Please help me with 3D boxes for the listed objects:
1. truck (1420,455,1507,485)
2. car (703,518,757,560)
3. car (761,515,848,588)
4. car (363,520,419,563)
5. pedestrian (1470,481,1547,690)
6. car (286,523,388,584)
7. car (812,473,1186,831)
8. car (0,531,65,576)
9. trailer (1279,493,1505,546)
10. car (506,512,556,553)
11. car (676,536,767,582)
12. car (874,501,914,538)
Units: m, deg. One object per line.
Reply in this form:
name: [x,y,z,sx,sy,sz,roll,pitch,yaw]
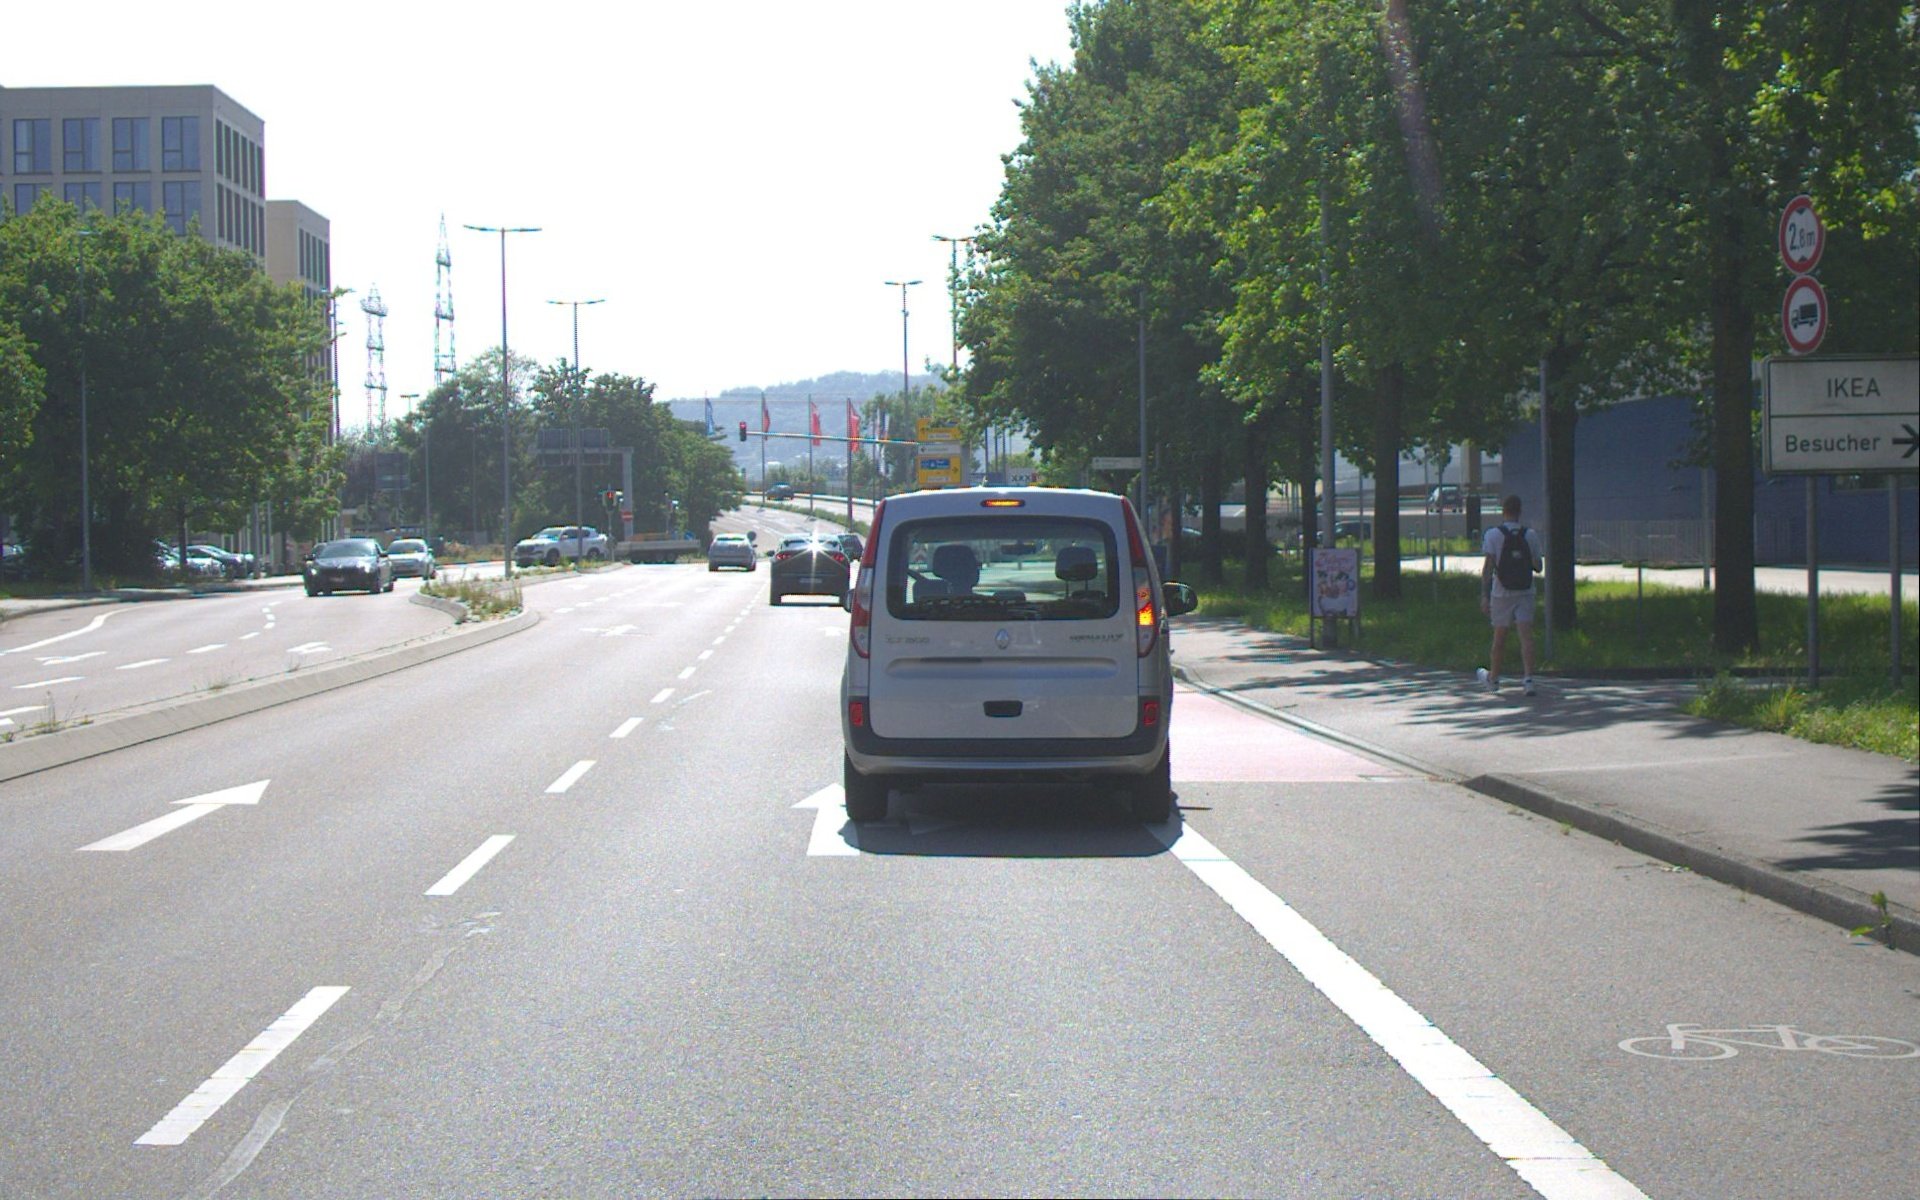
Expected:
truck: [36.164,-9.319,246.857,5.909,2.006,2.000,2,2,1]
car: [-9.380,-2.497,140.286,1.993,1.678,4.000,-1,1,-1]
car: [-3.618,-1.155,80.627,1.807,1.634,4.459,-1,1,0]
car: [-20.589,-2.126,124.531,1.653,1.459,3.551,-2,1,-4]
pedestrian: [4.891,-0.134,30.691,0.535,1.835,0.728,-1,1,-1]
car: [-16.340,-1.249,90.419,1.841,1.458,5.000,-3,1,-2]
car: [0.334,0.225,19.803,1.905,1.822,4.180,-1,1,4]
car: [-30.464,-1.453,108.453,3.987,1.371,1.924,-1,1,-1]
trailer: [23.212,-4.346,185.163,11.872,2.460,2.000,2,2,2]
car: [-19.767,-3.137,158.523,1.993,1.826,4.938,-1,1,-4]
car: [-11.373,-1.957,164.004,3.986,2.006,2.001,1,2,-16]
car: [-3.390,-4.124,175.533,1.757,1.752,3.604,1,2,-5]
